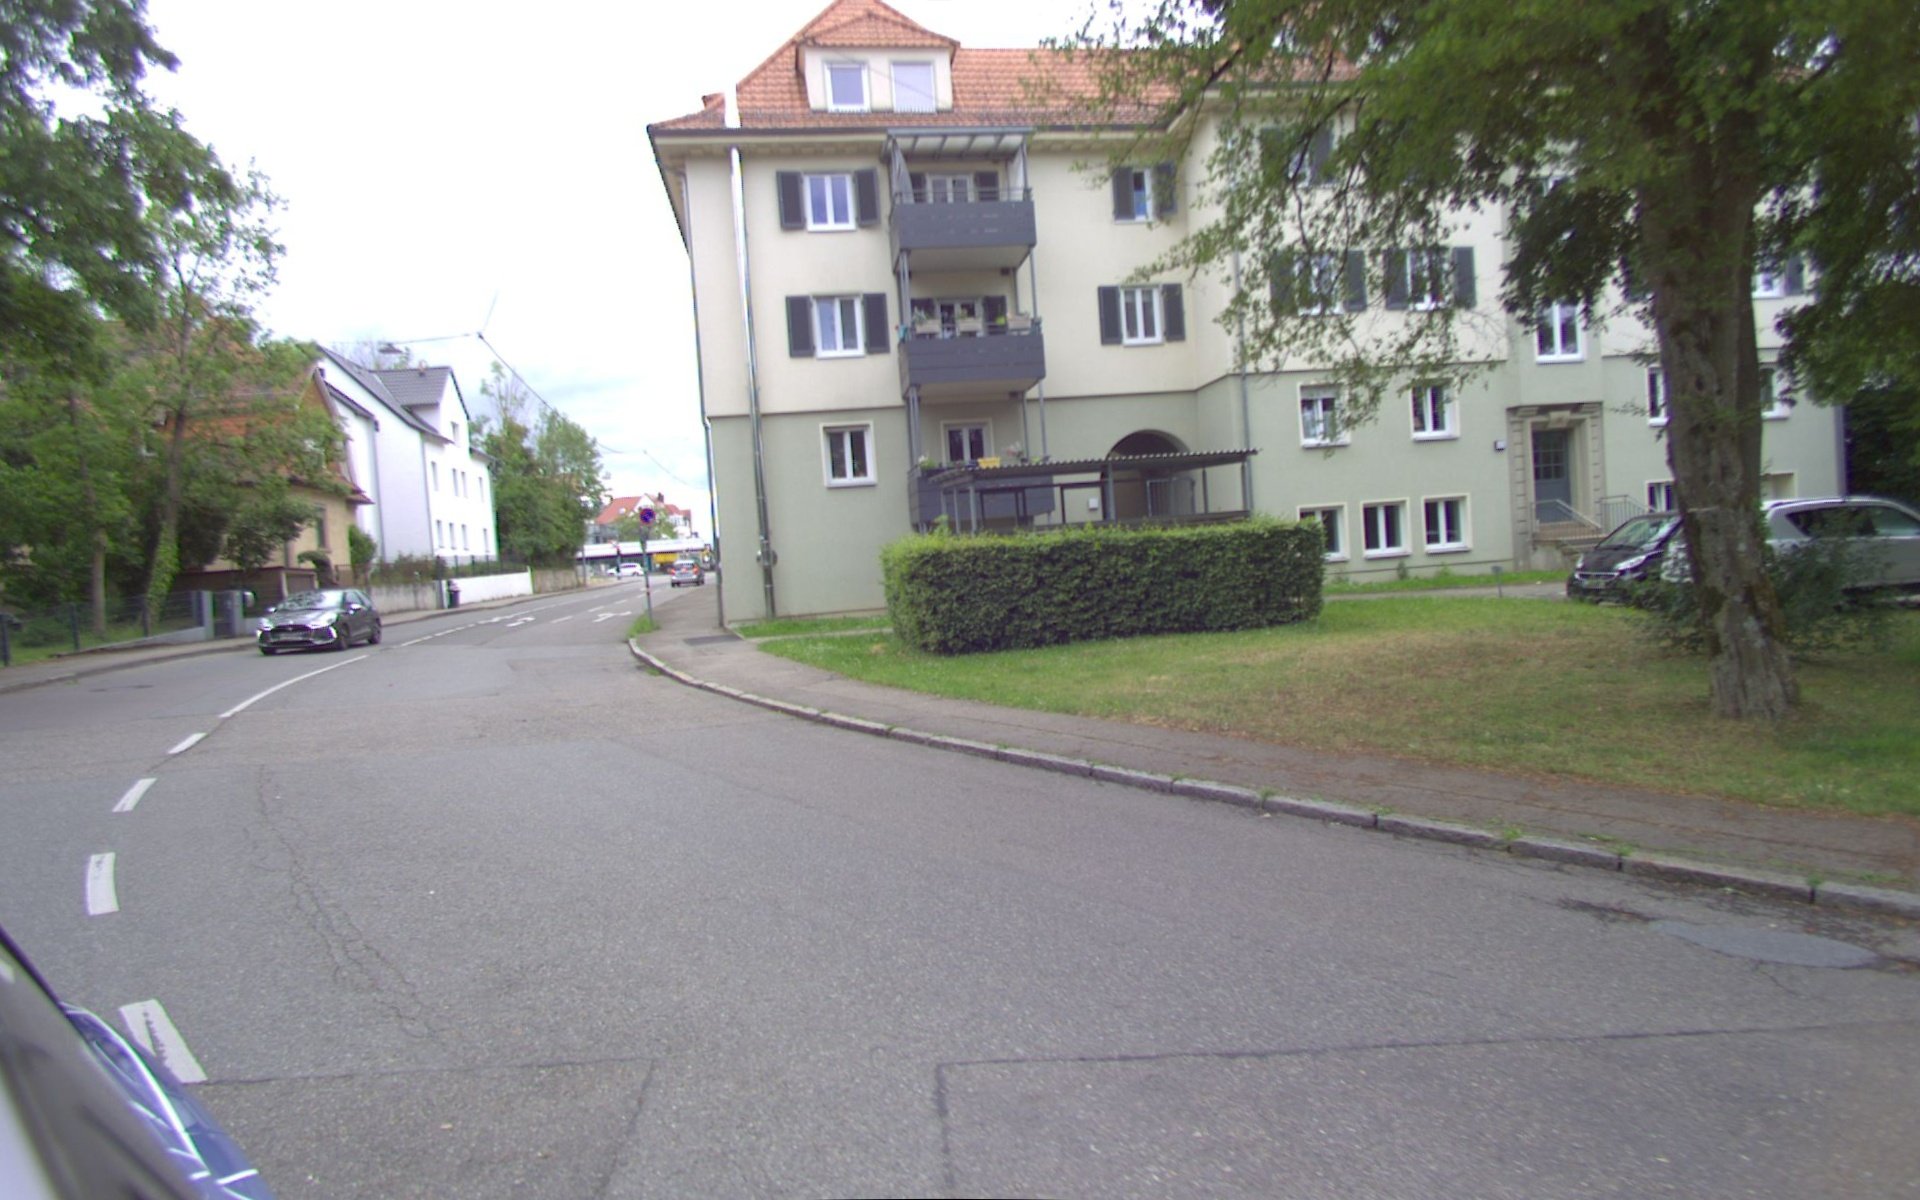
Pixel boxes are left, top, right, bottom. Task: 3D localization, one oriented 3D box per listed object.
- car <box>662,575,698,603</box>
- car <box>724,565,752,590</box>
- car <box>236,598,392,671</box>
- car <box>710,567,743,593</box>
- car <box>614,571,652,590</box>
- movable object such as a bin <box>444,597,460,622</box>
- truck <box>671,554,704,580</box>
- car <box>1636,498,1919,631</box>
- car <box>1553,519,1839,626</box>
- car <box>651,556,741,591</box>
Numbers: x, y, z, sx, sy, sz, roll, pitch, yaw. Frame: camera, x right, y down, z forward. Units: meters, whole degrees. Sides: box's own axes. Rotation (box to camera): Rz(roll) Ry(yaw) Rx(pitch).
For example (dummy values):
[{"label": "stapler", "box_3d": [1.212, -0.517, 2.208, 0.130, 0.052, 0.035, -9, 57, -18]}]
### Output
[{"label": "car", "box_3d": [-17.604, -0.696, 63.759, 1.700, 1.617, 3.985, -3, 1, -9]}, {"label": "car", "box_3d": [-16.421, -1.716, 74.996, 1.798, 1.644, 4.707, -5, 3, -11]}, {"label": "car", "box_3d": [-15.210, 0.749, 24.071, 1.622, 1.408, 3.788, -3, 2, -8]}, {"label": "car", "box_3d": [-14.766, -1.302, 64.290, 1.688, 1.413, 4.857, -4, 3, -10]}, {"label": "car", "box_3d": [-38.722, -2.300, 119.905, 3.934, 2.028, 2.005, -4, 2, -12]}, {"label": "movable object such as a bin", "box_3d": [-24.202, 0.451, 48.217, 0.521, 1.187, 0.636, -1, 2, -10]}, {"label": "truck", "box_3d": [-25.236, -3.047, 93.938, 2.094, 2.217, 6.602, -3, 2, -8]}, {"label": "car", "box_3d": [12.425, -0.569, 14.279, 4.520, 1.544, 1.960, -4, 2, -6]}, {"label": "car", "box_3d": [11.851, -0.462, 16.421, 3.549, 1.409, 1.510, -4, 2, -3]}, {"label": "car", "box_3d": [-28.624, -2.850, 109.947, 9.095, 3.251, 2.004, -4, 2, -8]}]
